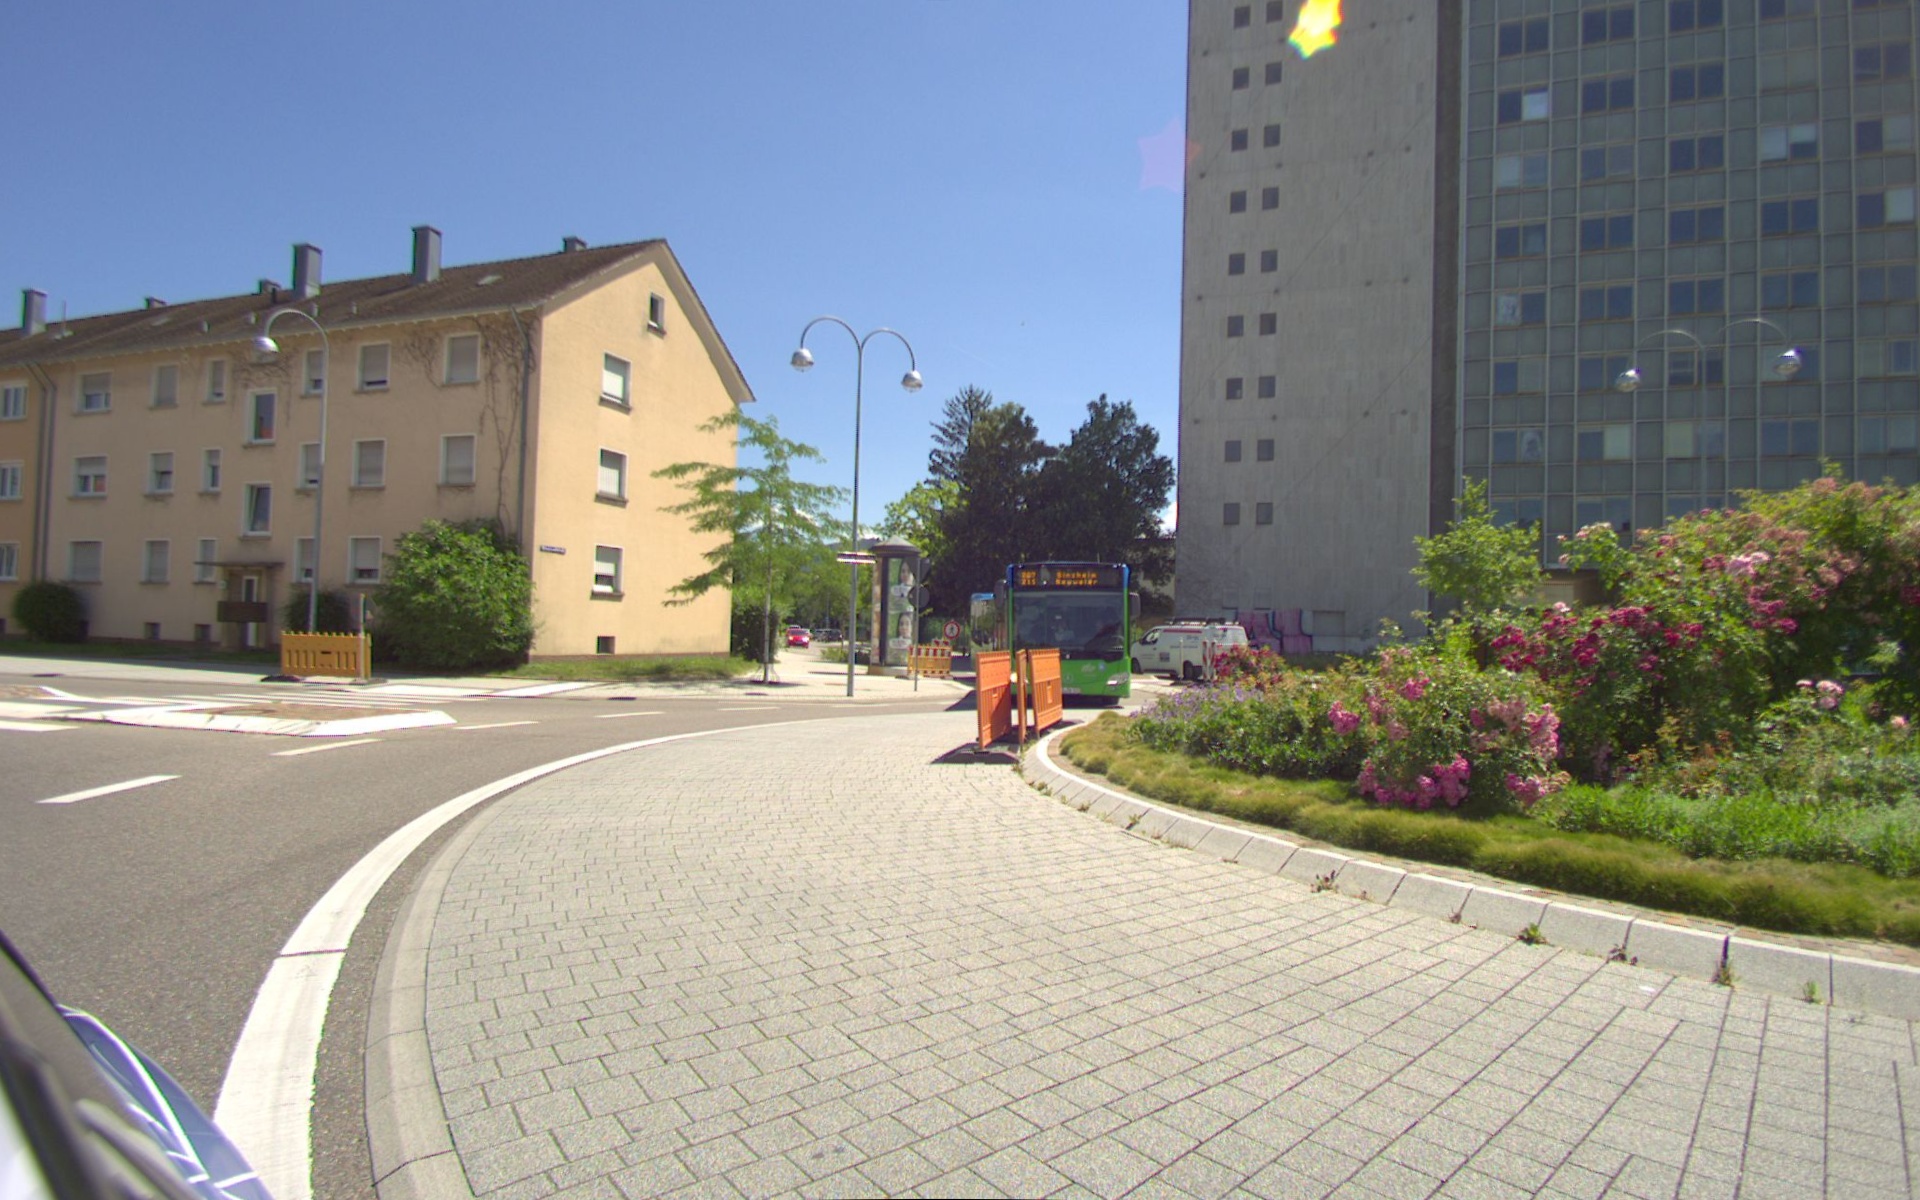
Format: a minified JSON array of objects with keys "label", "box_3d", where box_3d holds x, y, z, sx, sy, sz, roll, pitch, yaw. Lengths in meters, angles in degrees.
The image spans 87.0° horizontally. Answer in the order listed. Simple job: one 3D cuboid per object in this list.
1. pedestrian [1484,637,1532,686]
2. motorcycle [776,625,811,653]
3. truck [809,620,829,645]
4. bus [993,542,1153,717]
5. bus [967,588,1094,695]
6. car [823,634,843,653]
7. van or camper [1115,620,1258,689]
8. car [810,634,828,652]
[{"label":"pedestrian","box_3d":[18.599,2.063,34.325,1.281,1.597,0.936,0,-3,39]},{"label":"motorcycle","box_3d":[-12.775,2.998,77.636,1.966,2.029,4.012,2,-2,-18]},{"label":"truck","box_3d":[-18.887,4.333,135.310,2.451,3.204,8.465,2,-2,-9]},{"label":"bus","box_3d":[2.345,0.898,24.683,2.923,3.350,10.078,-1,-4,1]},{"label":"bus","box_3d":[2.113,1.337,34.387,2.787,3.134,8.934,0,-1,-6]},{"label":"car","box_3d":[-14.192,4.798,112.677,1.968,2.029,4.008,2,-2,-9]},{"label":"van or camper","box_3d":[7.751,1.906,35.251,1.965,2.188,5.430,1,-4,-24]},{"label":"car","box_3d":[-16.394,4.992,117.536,1.968,2.029,4.008,2,-2,-9]}]
